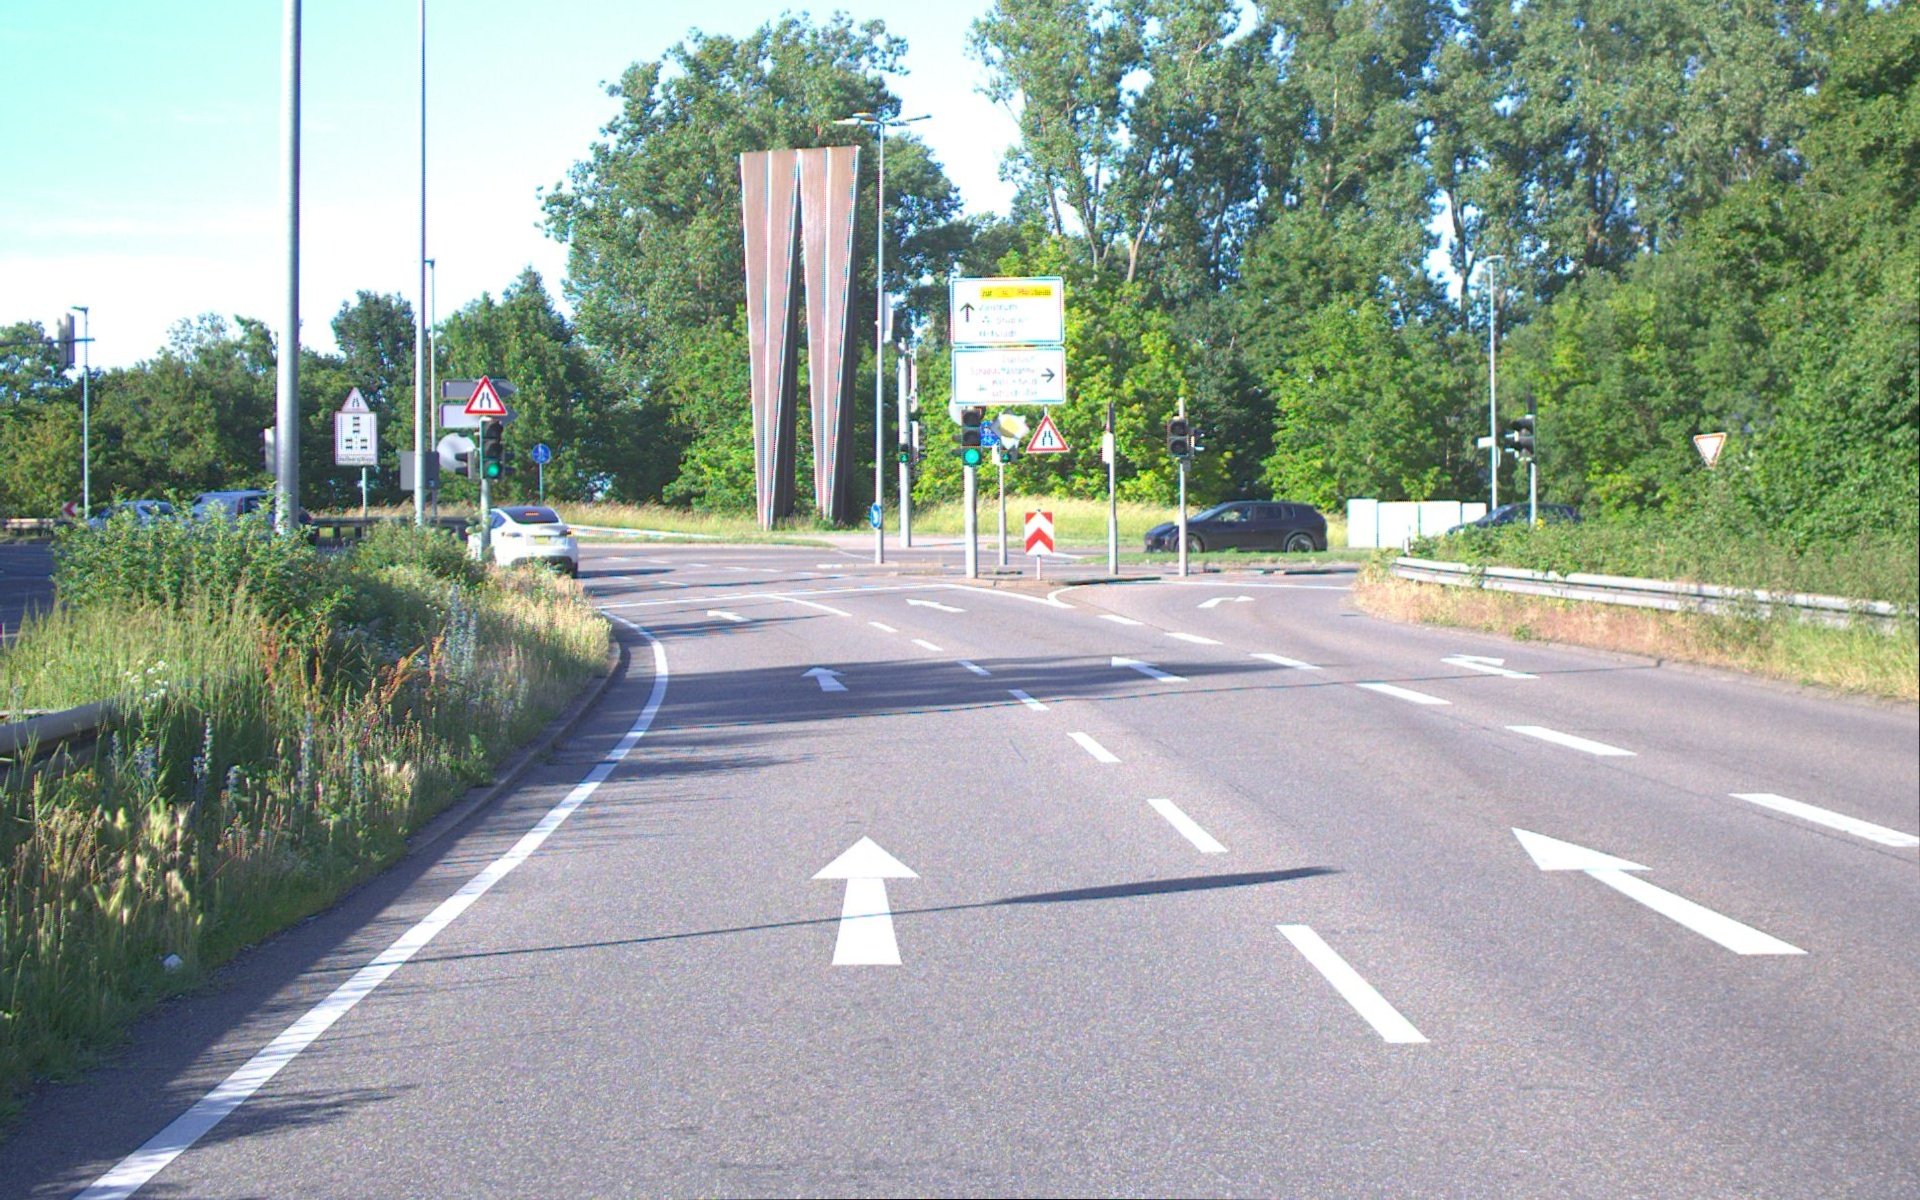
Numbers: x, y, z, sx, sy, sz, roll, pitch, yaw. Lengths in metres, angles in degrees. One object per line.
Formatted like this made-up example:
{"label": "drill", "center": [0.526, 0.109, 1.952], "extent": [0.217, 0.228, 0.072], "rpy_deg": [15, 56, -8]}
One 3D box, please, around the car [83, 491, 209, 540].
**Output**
{"label": "car", "center": [-25.786, -2.684, 108.832], "extent": [4.152, 1.469, 1.970], "rpy_deg": [2, 3, 45]}

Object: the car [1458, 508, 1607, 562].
{"label": "car", "center": [15.426, -1.761, 92.783], "extent": [3.691, 1.382, 1.611], "rpy_deg": [-1, 1, -3]}

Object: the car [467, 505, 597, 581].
{"label": "car", "center": [-9.736, -1.318, 77.966], "extent": [1.993, 1.634, 4.129], "rpy_deg": [-2, 2, -20]}

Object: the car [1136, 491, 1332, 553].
{"label": "car", "center": [6.706, -1.930, 84.441], "extent": [4.457, 1.459, 2.001], "rpy_deg": [0, 2, -9]}

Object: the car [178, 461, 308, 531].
{"label": "car", "center": [-20.127, -2.912, 96.431], "extent": [1.994, 1.873, 4.248], "rpy_deg": [-2, 2, -35]}
